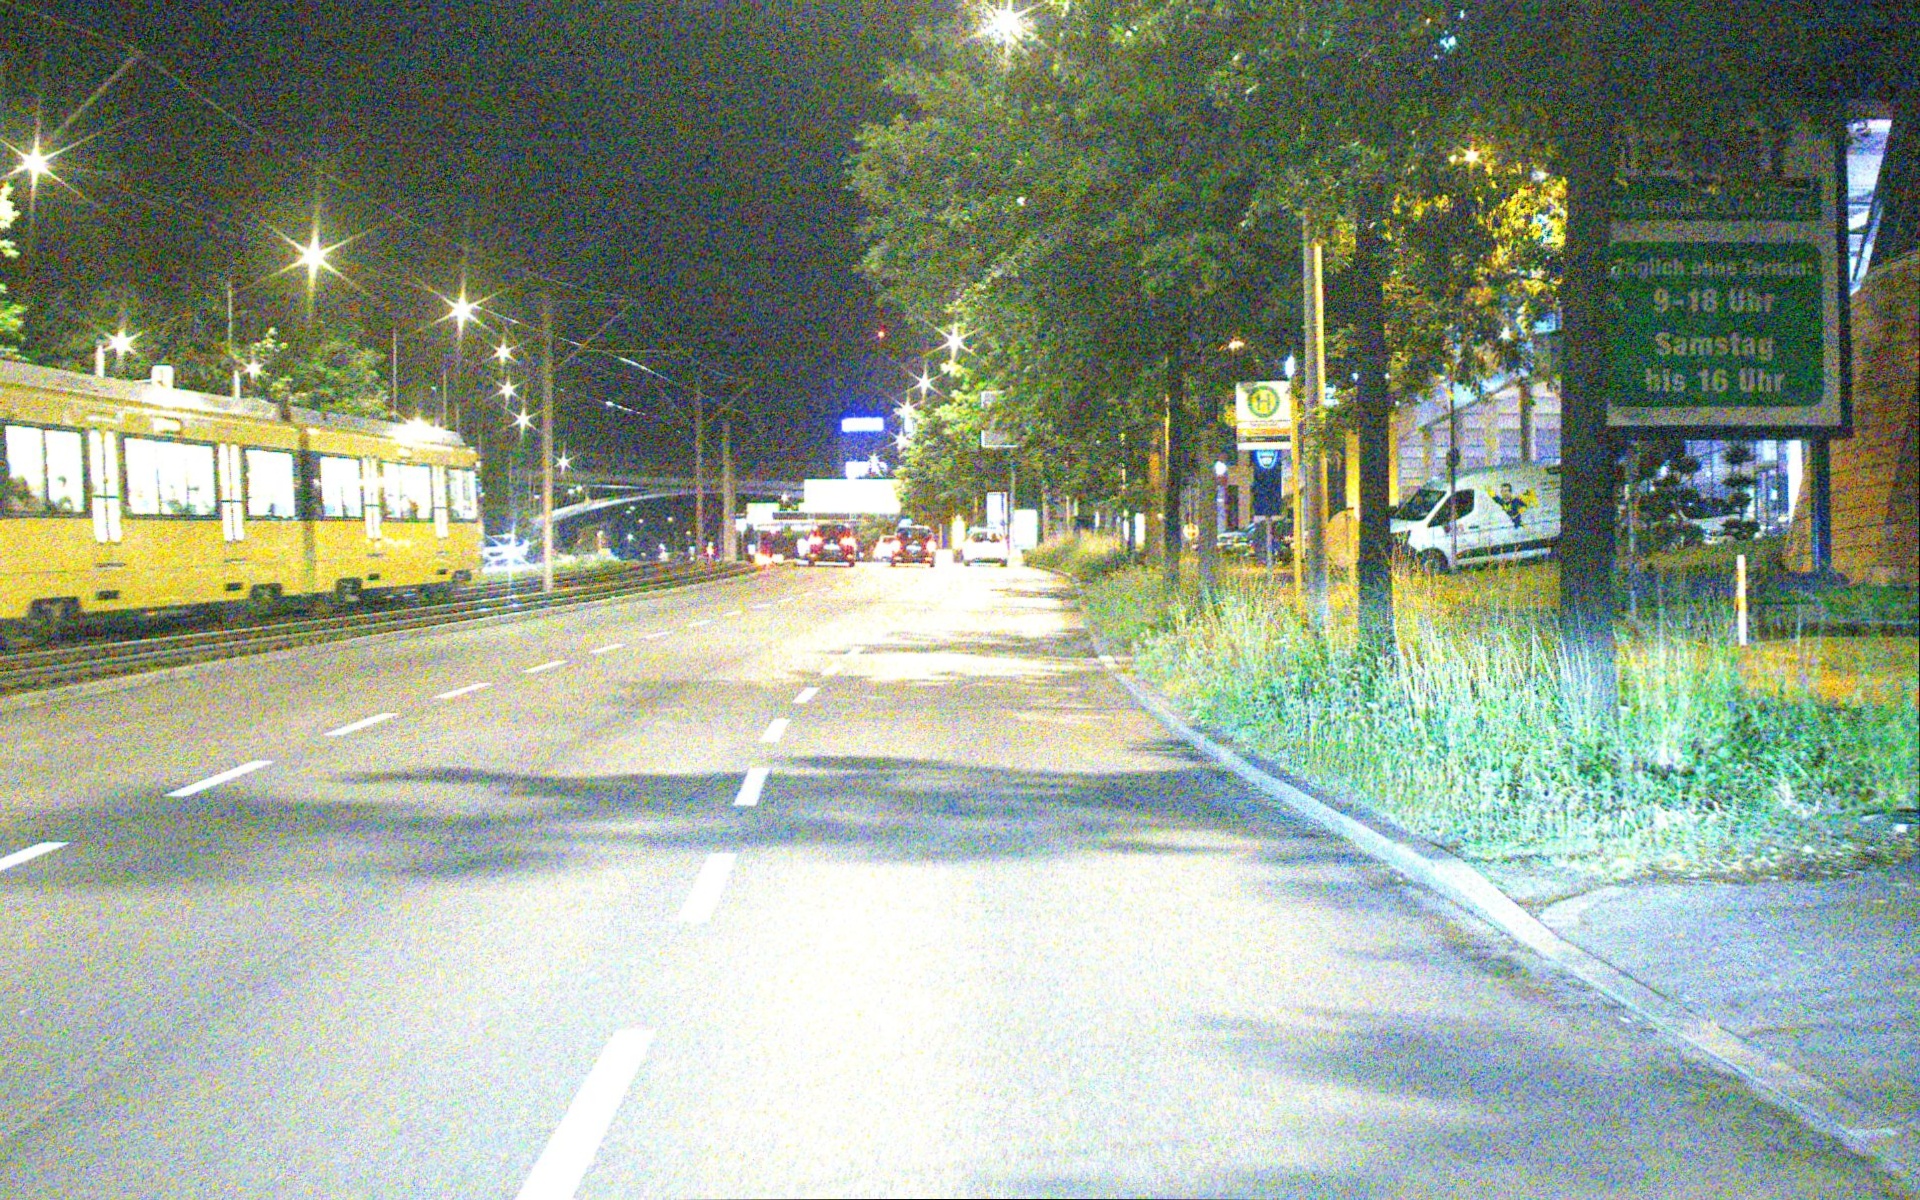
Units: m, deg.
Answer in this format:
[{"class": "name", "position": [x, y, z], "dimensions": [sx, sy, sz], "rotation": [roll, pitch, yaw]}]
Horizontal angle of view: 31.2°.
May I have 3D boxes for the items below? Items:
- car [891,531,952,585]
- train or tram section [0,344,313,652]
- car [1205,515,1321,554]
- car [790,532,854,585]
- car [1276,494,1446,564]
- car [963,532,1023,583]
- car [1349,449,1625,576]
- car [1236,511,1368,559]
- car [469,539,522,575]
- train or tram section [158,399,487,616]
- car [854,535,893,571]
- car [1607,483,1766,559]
[{"class": "car", "position": [-1.522, -1.666, 136.595], "dimensions": [2.356, 2.122, 4.826], "rotation": [0, 1, 0]}, {"class": "train or tram section", "position": [-13.050, -1.426, 50.807], "dimensions": [2.738, 3.833, 19.363], "rotation": [0, 1, 2]}, {"class": "car", "position": [11.569, -2.513, 131.219], "dimensions": [3.986, 1.419, 1.910], "rotation": [-1, 2, -17]}, {"class": "car", "position": [-5.261, -1.587, 131.916], "dimensions": [2.262, 2.007, 4.826], "rotation": [0, 1, 0]}, {"class": "car", "position": [11.748, -2.098, 100.884], "dimensions": [4.459, 1.681, 2.001], "rotation": [-5, 2, -10]}, {"class": "car", "position": [1.370, -1.812, 145.326], "dimensions": [2.427, 2.106, 4.826], "rotation": [0, 1, 0]}, {"class": "car", "position": [12.736, -2.126, 83.151], "dimensions": [6.015, 2.520, 2.284], "rotation": [-6, 2, -16]}, {"class": "car", "position": [11.706, -2.222, 117.656], "dimensions": [4.022, 1.369, 1.826], "rotation": [-4, 2, -15]}, {"class": "car", "position": [-20.215, -1.872, 149.785], "dimensions": [1.660, 1.511, 3.910], "rotation": [0, 1, 2]}, {"class": "train or tram section", "position": [-12.508, -1.812, 69.838], "dimensions": [2.759, 3.814, 18.670], "rotation": [0, 1, 1]}, {"class": "car", "position": [-4.448, -2.433, 177.628], "dimensions": [1.887, 1.853, 4.000], "rotation": [0, 1, 0]}, {"class": "car", "position": [17.573, -1.906, 83.345], "dimensions": [1.805, 1.706, 3.969], "rotation": [-2, 1, -22]}]
